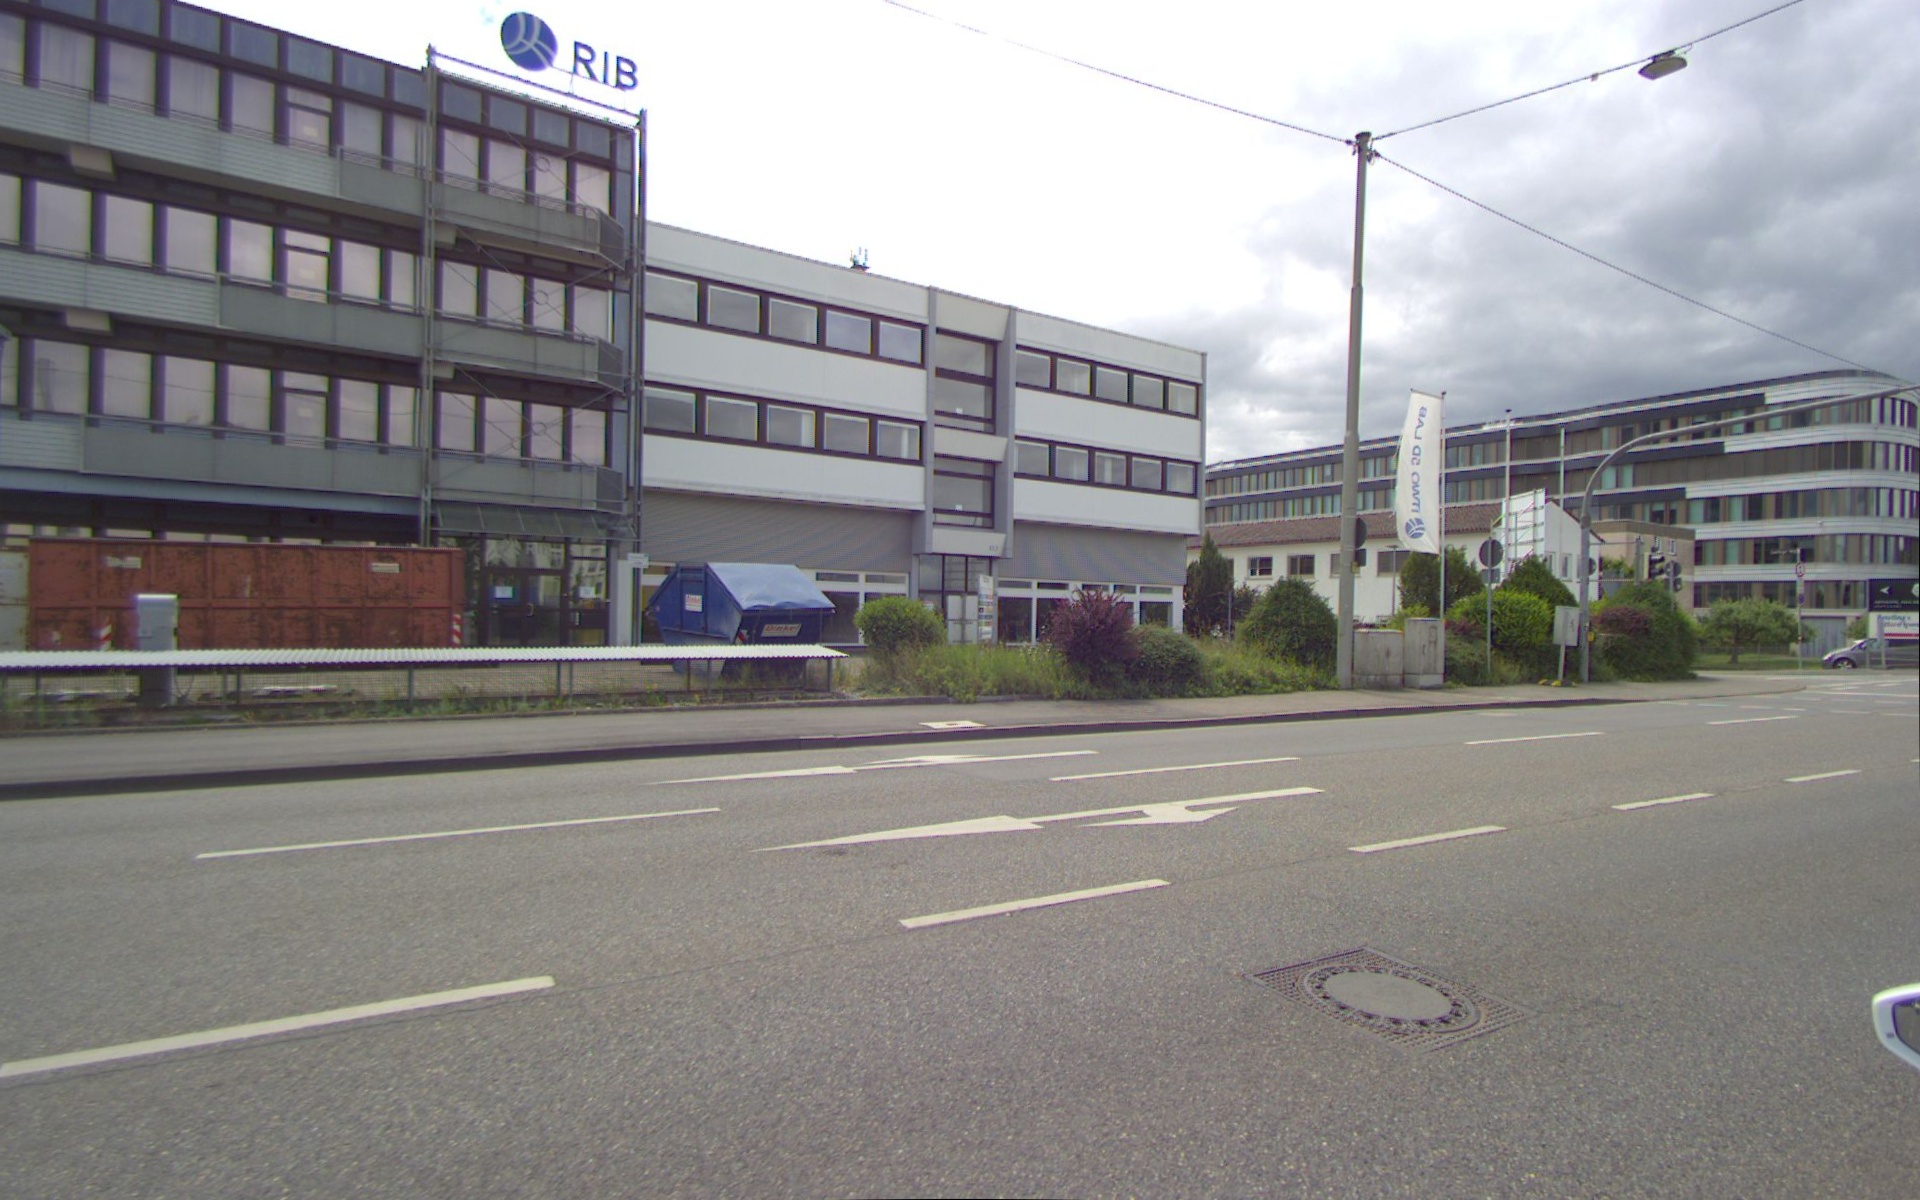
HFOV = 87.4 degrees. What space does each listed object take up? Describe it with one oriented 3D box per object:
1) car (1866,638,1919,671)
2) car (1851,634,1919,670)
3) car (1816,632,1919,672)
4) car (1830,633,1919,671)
[{"bbox_3d":[43.397,2.373,44.834,1.828,1.387,3.968,2,-7,-32],"label":"car"},{"bbox_3d":[41.304,2.193,43.100,1.965,1.404,4.197,3,-7,-35],"label":"car"},{"bbox_3d":[37.282,2.056,40.337,1.891,1.415,4.066,1,-6,-37],"label":"car"},{"bbox_3d":[39.234,2.163,41.914,1.835,1.442,3.968,2,-7,-32],"label":"car"}]
